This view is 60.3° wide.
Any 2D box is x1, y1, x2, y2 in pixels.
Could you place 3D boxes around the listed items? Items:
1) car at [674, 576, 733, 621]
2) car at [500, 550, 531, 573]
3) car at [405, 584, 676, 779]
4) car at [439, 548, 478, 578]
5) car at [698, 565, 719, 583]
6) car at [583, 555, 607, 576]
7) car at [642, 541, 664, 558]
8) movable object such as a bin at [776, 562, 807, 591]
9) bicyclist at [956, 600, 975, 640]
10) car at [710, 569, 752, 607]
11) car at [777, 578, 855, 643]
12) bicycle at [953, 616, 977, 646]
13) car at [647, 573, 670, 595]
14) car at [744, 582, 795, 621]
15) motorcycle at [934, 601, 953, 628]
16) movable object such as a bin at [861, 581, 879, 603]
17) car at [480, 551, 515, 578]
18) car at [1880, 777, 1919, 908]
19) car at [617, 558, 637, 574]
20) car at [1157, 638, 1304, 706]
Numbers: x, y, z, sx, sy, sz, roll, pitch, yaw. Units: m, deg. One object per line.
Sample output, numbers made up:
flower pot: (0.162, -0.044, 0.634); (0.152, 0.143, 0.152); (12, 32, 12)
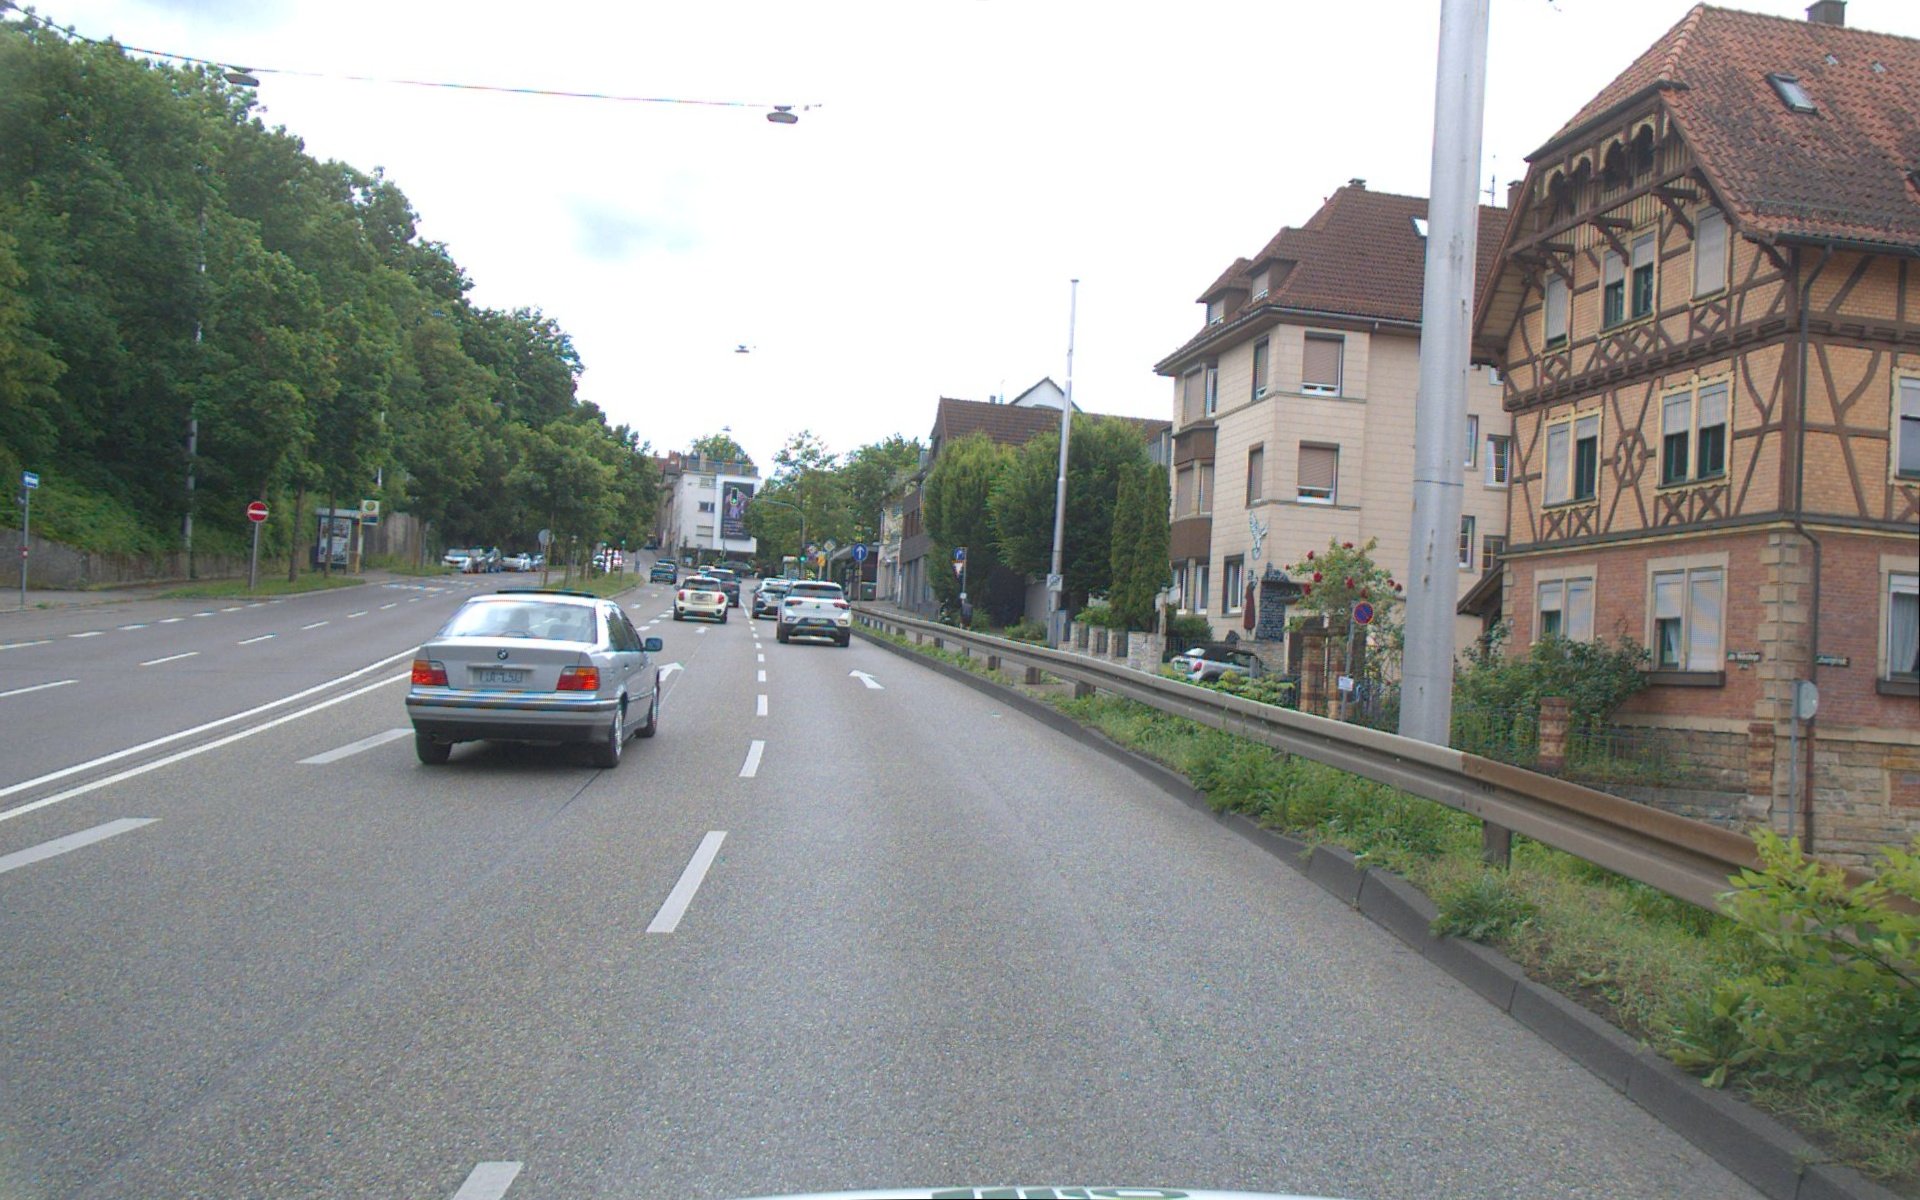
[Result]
car: (-8.353, -0.061, 53.674); (1.692, 1.400, 3.446); (1, 0, -12)
car: (-34.467, -3.012, 128.255); (1.827, 1.621, 4.269); (5, 1, -11)
car: (-3.551, 0.596, 14.763); (1.602, 1.407, 4.615); (1, 1, -5)
car: (-32.155, -2.377, 106.131); (1.827, 1.698, 4.269); (5, 1, -11)
car: (-21.295, -2.184, 140.167); (1.691, 1.400, 3.449); (1, 0, -9)
car: (-33.229, -3.194, 150.709); (1.826, 1.698, 4.270); (5, 1, -10)
car: (-41.519, -6.782, 223.586); (2.464, 2.048, 5.173); (5, 1, -8)
movable object such as a bin: (-12.613, -1.755, 123.666); (1.862, 1.902, 1.522); (5, 1, -17)
bicyclist: (0.203, 0.776, 64.690); (0.556, 1.551, 0.957); (1, 1, -11)
car: (-10.531, -0.537, 75.943); (1.692, 1.668, 3.447); (1, 0, -11)
car: (-3.674, 0.248, 41.776); (1.763, 1.545, 3.450); (1, 0, -8)
bicycle: (0.181, 1.197, 64.740); (0.556, 1.081, 2.001); (1, 1, -10)
car: (-23.167, -1.250, 127.077); (1.692, 1.610, 3.447); (1, 0, -11)
car: (-7.159, 0.052, 62.015); (1.691, 1.400, 3.448); (1, 0, -10)
motorcycle: (-0.778, 0.699, 78.888); (0.597, 1.182, 2.037); (2, 1, -8)
movable object such as a bin: (-6.602, -0.587, 121.408); (1.174, 1.432, 0.709); (5, 0, -9)
car: (-32.567, -2.535, 116.460); (1.827, 1.698, 4.269); (5, 1, -11)
car: (14.359, 3.460, 21.291); (3.919, 1.600, 1.995); (9, 0, -11)
car: (-35.391, -3.614, 175.719); (1.827, 1.567, 4.269); (5, 1, -11)
car: (7.399, 1.971, 45.276); (3.557, 1.459, 1.692); (6, 0, -25)
